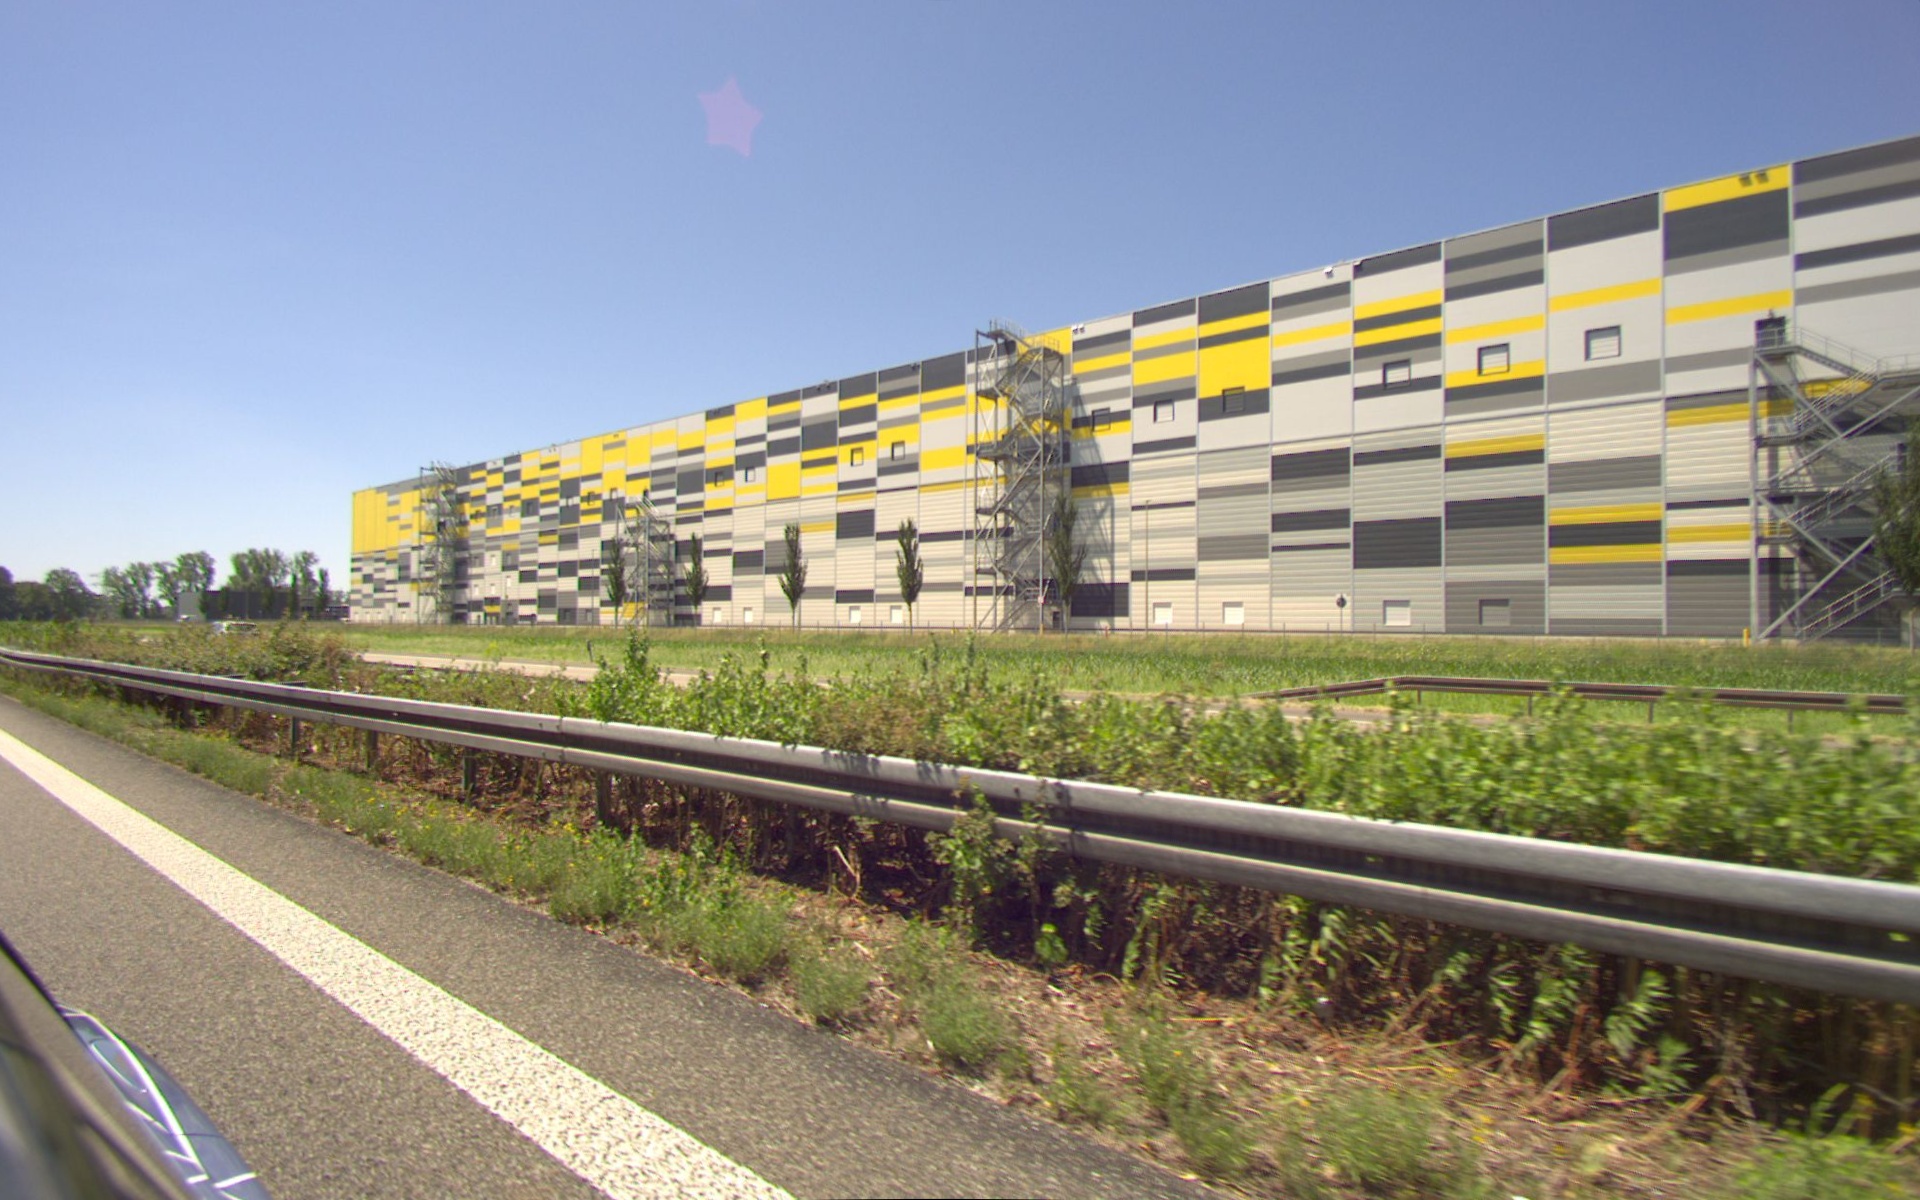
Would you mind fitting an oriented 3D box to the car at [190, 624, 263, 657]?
[{"bbox_3d":[-33.847,1.868,46.681,4.657,1.438,1.616,-1,-3,40],"label":"car"}]
